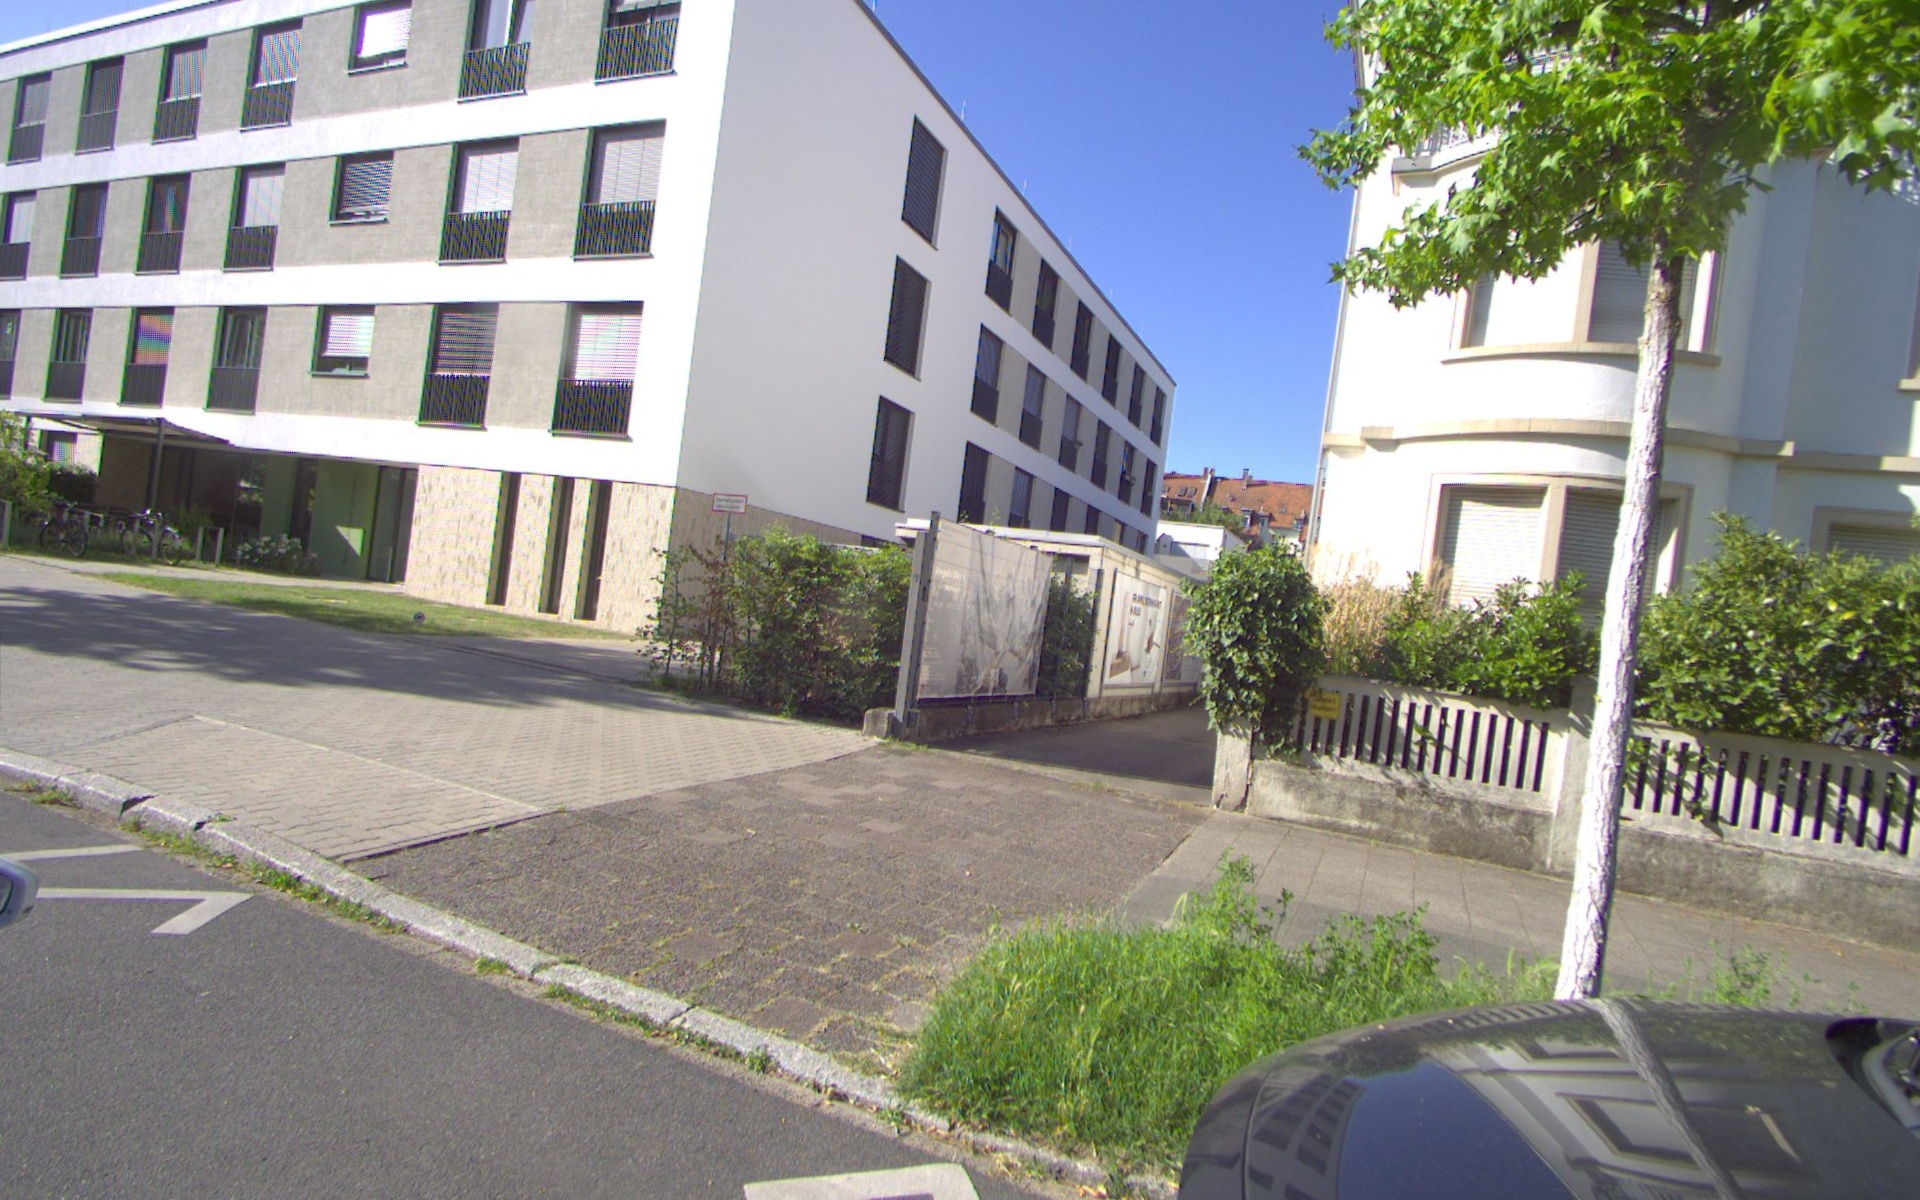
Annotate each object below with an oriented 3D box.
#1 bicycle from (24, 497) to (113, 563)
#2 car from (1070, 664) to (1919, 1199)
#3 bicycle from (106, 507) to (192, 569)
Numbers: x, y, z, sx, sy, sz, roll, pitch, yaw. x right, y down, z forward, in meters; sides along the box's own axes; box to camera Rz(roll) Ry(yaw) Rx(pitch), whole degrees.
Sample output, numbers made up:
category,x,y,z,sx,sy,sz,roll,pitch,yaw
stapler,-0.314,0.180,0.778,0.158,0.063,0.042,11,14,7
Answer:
category,x,y,z,sx,sy,sz,roll,pitch,yaw
bicycle,-17.177,-1.356,19.384,1.660,1.068,0.547,7,1,22
car,2.244,1.079,0.957,4.009,1.467,1.704,7,1,25
bicycle,-16.645,-1.276,20.642,1.747,1.068,0.547,7,1,22
